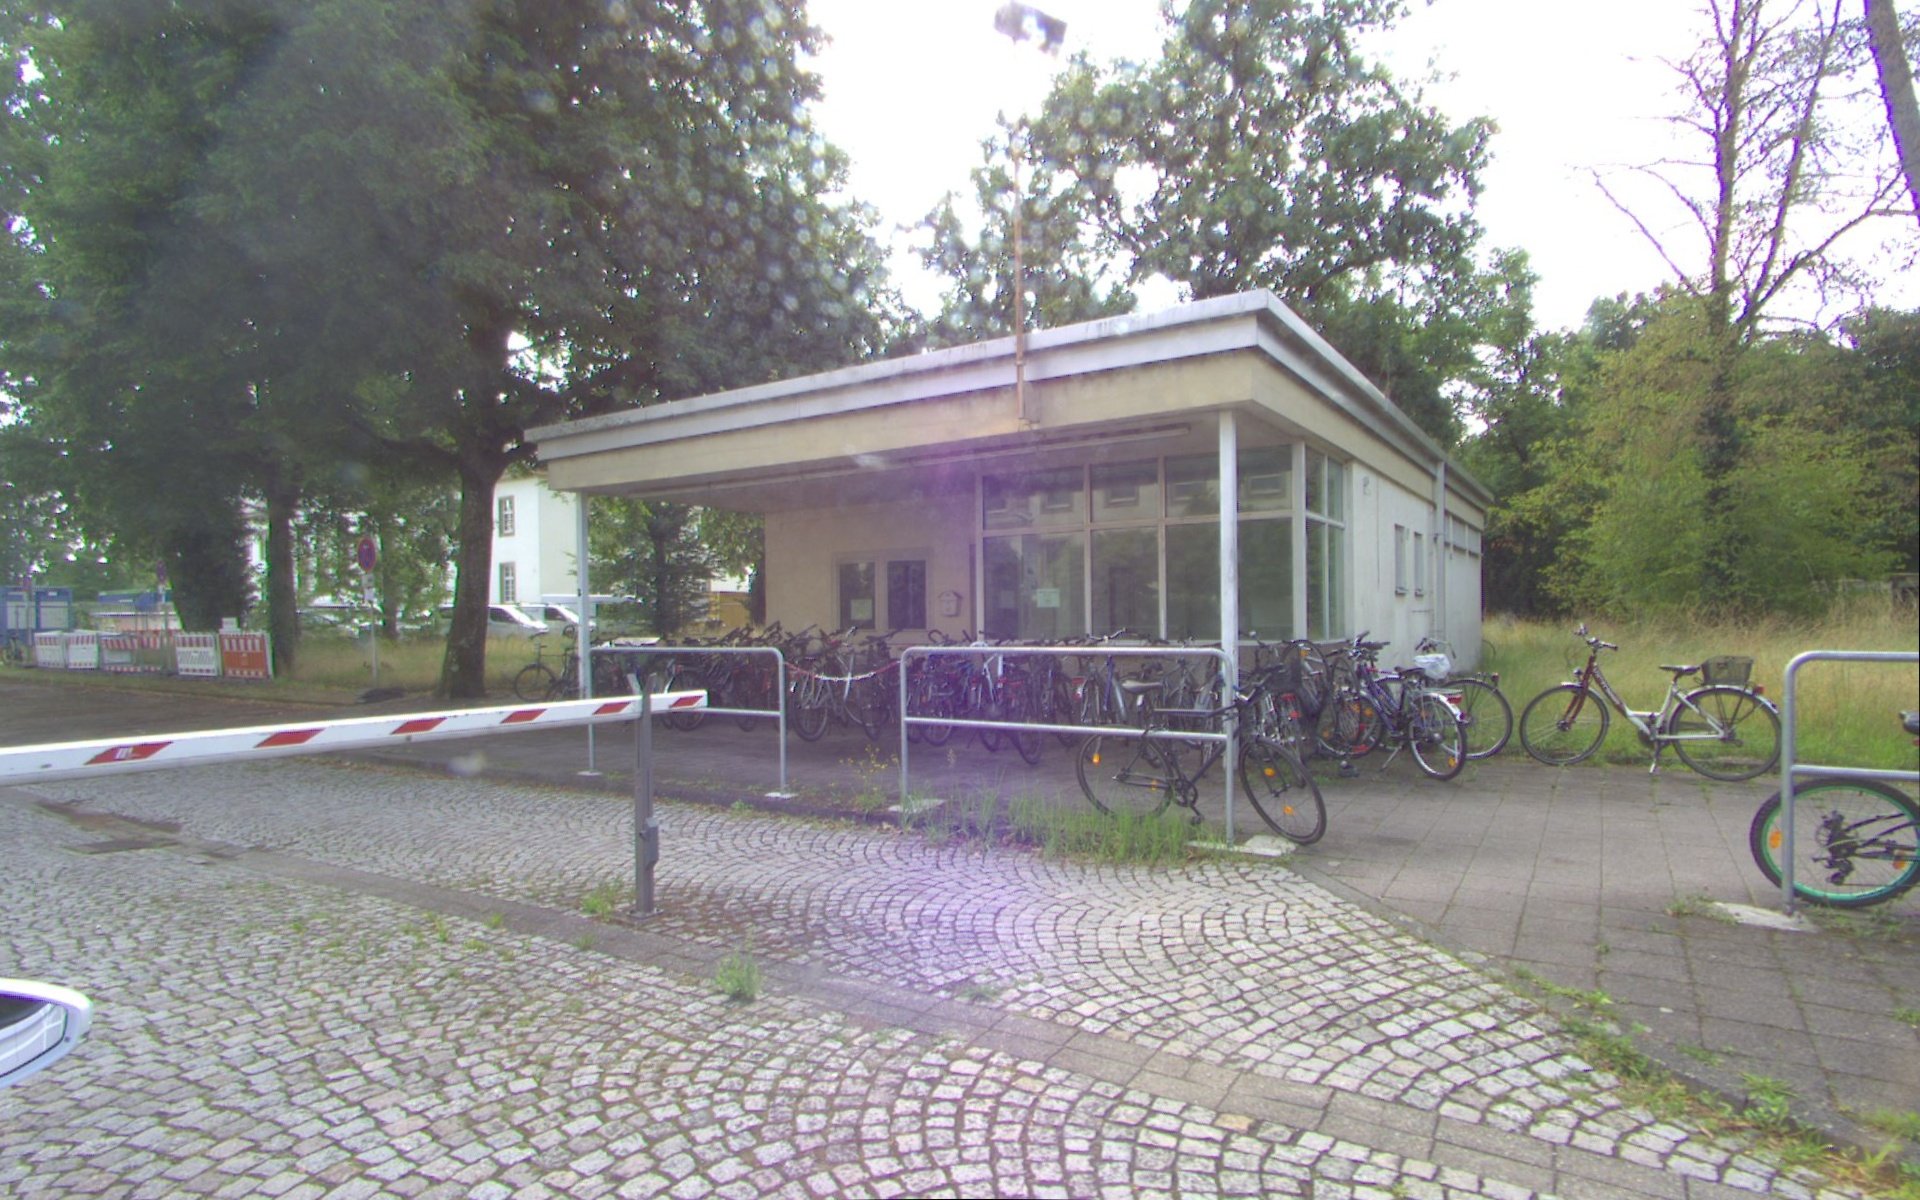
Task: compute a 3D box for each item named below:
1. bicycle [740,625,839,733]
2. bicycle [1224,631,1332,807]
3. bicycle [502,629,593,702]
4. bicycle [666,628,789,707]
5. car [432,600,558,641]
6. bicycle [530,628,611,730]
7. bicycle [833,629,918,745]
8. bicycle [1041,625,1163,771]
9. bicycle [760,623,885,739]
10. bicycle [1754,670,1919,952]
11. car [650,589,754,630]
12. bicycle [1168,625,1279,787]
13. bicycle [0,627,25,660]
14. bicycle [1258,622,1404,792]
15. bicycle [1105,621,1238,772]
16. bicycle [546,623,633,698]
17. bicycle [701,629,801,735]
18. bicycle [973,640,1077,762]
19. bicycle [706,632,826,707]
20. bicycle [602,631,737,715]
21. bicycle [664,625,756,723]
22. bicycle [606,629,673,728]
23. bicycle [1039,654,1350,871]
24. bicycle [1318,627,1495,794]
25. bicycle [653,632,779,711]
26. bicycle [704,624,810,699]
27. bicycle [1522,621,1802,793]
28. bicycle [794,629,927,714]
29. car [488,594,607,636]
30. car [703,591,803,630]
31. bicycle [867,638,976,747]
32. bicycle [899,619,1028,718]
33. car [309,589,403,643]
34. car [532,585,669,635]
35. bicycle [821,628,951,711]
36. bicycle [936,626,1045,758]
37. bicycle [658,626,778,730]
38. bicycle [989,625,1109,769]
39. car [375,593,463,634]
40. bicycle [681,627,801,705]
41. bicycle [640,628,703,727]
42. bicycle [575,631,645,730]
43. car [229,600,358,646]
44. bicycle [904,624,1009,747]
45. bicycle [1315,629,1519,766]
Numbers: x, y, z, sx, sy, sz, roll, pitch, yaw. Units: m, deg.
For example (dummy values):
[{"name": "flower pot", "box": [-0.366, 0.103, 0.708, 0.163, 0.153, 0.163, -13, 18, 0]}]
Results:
[{"name": "bicycle", "box": [-2.037, 0.912, 12.202, 0.488, 1.186, 1.805, -3, -1, 12]}, {"name": "bicycle", "box": [2.494, 0.879, 7.996, 0.428, 1.186, 1.652, -2, 0, 5]}, {"name": "bicycle", "box": [-6.689, 1.040, 16.220, 1.561, 1.101, 0.503, 0, 1, 29]}, {"name": "bicycle", "box": [-3.412, 0.996, 14.652, 1.867, 1.095, 0.371, -2, 0, 23]}, {"name": "car", "box": [-20.713, 0.915, 44.707, 4.746, 1.671, 2.000, -1, -1, 5]}, {"name": "bicycle", "box": [-5.029, 0.990, 13.002, 0.425, 1.186, 1.382, -3, 1, 2]}, {"name": "bicycle", "box": [-0.920, 0.939, 11.322, 0.394, 1.174, 1.704, -3, -1, 14]}, {"name": "bicycle", "box": [1.380, 0.864, 9.414, 0.478, 1.186, 1.947, -3, -1, 27]}, {"name": "bicycle", "box": [-1.527, 0.880, 11.439, 0.574, 1.186, 1.802, -3, -1, 21]}, {"name": "bicycle", "box": [4.307, 0.866, 4.110, 1.572, 1.071, 0.728, -1, 1, 33]}, {"name": "car", "box": [-14.181, 0.538, 54.887, 5.618, 1.982, 2.435, -3, -1, 35]}, {"name": "bicycle", "box": [2.200, 0.829, 8.264, 0.430, 1.186, 1.388, -3, -1, 33]}, {"name": "bicycle", "box": [-30.159, 1.386, 31.740, 1.702, 1.020, 0.331, -3, -1, 32]}, {"name": "bicycle", "box": [2.991, 0.807, 8.226, 0.428, 1.186, 1.652, -2, 1, -5]}, {"name": "bicycle", "box": [1.979, 0.813, 9.143, 0.479, 1.186, 2.066, -3, -1, 31]}, {"name": "bicycle", "box": [-6.152, 1.009, 16.607, 1.533, 1.186, 0.503, -3, -1, 32]}, {"name": "bicycle", "box": [-2.536, 0.970, 12.365, 0.488, 1.186, 1.749, -3, -1, 12]}, {"name": "bicycle", "box": [0.682, 0.954, 9.928, 0.348, 1.044, 1.769, -3, -1, 26]}, {"name": "bicycle", "box": [-2.977, 1.068, 15.300, 1.866, 1.097, 0.371, -2, 0, 22]}, {"name": "bicycle", "box": [-4.027, 1.005, 13.916, 1.764, 1.133, 0.446, -1, 0, 8]}, {"name": "bicycle", "box": [-3.248, 0.939, 13.106, 0.353, 1.186, 1.378, -3, -1, 24]}, {"name": "bicycle", "box": [-4.100, 0.972, 12.882, 0.352, 1.186, 1.383, -2, -1, 1]}, {"name": "bicycle", "box": [1.398, 0.901, 6.074, 1.690, 1.087, 0.728, -1, 1, 33]}, {"name": "bicycle", "box": [3.579, 0.833, 8.173, 0.428, 1.134, 1.651, -2, 2, -12]}, {"name": "bicycle", "box": [-3.492, 1.005, 14.295, 1.880, 1.081, 0.371, -1, 0, 22]}, {"name": "bicycle", "box": [-3.266, 0.992, 16.011, 1.871, 1.143, 0.370, -3, 0, 31]}, {"name": "bicycle", "box": [5.343, 0.767, 7.717, 0.432, 1.186, 1.707, -2, 0, -44]}, {"name": "bicycle", "box": [-1.397, 0.986, 13.932, 1.866, 1.133, 0.371, -1, 0, 23]}, {"name": "car", "box": [-19.389, 0.707, 47.170, 4.746, 1.812, 2.000, -1, -1, 5]}, {"name": "car", "box": [-12.052, 0.630, 58.118, 5.618, 1.982, 2.435, -3, -1, 35]}, {"name": "bicycle", "box": [-0.383, 0.979, 11.086, 0.394, 1.042, 1.980, -3, -1, 22]}, {"name": "bicycle", "box": [0.081, 0.846, 12.894, 0.441, 1.133, 1.880, -2, -1, 45]}, {"name": "car", "box": [-29.257, 0.820, 48.439, 5.288, 2.455, 1.987, -2, -1, 36]}, {"name": "car", "box": [-17.833, 0.516, 49.886, 6.079, 2.338, 2.000, -1, -1, 2]}, {"name": "bicycle", "box": [-1.076, 1.008, 14.377, 1.866, 1.133, 0.371, -2, 0, 22]}, {"name": "bicycle", "box": [0.362, 0.891, 10.342, 0.394, 1.186, 2.017, -3, -1, 22]}, {"name": "bicycle", "box": [-3.025, 0.949, 12.682, 0.353, 1.186, 1.799, -3, -1, 27]}, {"name": "bicycle", "box": [0.904, 0.860, 9.565, 0.386, 1.186, 2.070, -3, -1, 26]}, {"name": "car", "box": [-28.110, 0.712, 51.986, 4.771, 2.040, 1.989, -1, 0, 33]}, {"name": "bicycle", "box": [-3.294, 0.977, 15.008, 1.866, 1.133, 0.371, -1, 0, 22]}, {"name": "bicycle", "box": [-3.707, 0.970, 12.933, 0.352, 1.186, 1.383, -2, -1, 1]}, {"name": "bicycle", "box": [-4.496, 1.004, 12.921, 0.352, 1.186, 1.383, -2, -1, 1]}, {"name": "car", "box": [-28.513, 0.967, 42.945, 1.973, 1.844, 4.208, -2, -1, 35]}, {"name": "bicycle", "box": [0.005, 0.878, 10.923, 0.394, 1.186, 1.980, -3, -1, 22]}, {"name": "bicycle", "box": [3.969, 0.816, 8.753, 1.573, 1.098, 0.434, -1, 0, 32]}]
